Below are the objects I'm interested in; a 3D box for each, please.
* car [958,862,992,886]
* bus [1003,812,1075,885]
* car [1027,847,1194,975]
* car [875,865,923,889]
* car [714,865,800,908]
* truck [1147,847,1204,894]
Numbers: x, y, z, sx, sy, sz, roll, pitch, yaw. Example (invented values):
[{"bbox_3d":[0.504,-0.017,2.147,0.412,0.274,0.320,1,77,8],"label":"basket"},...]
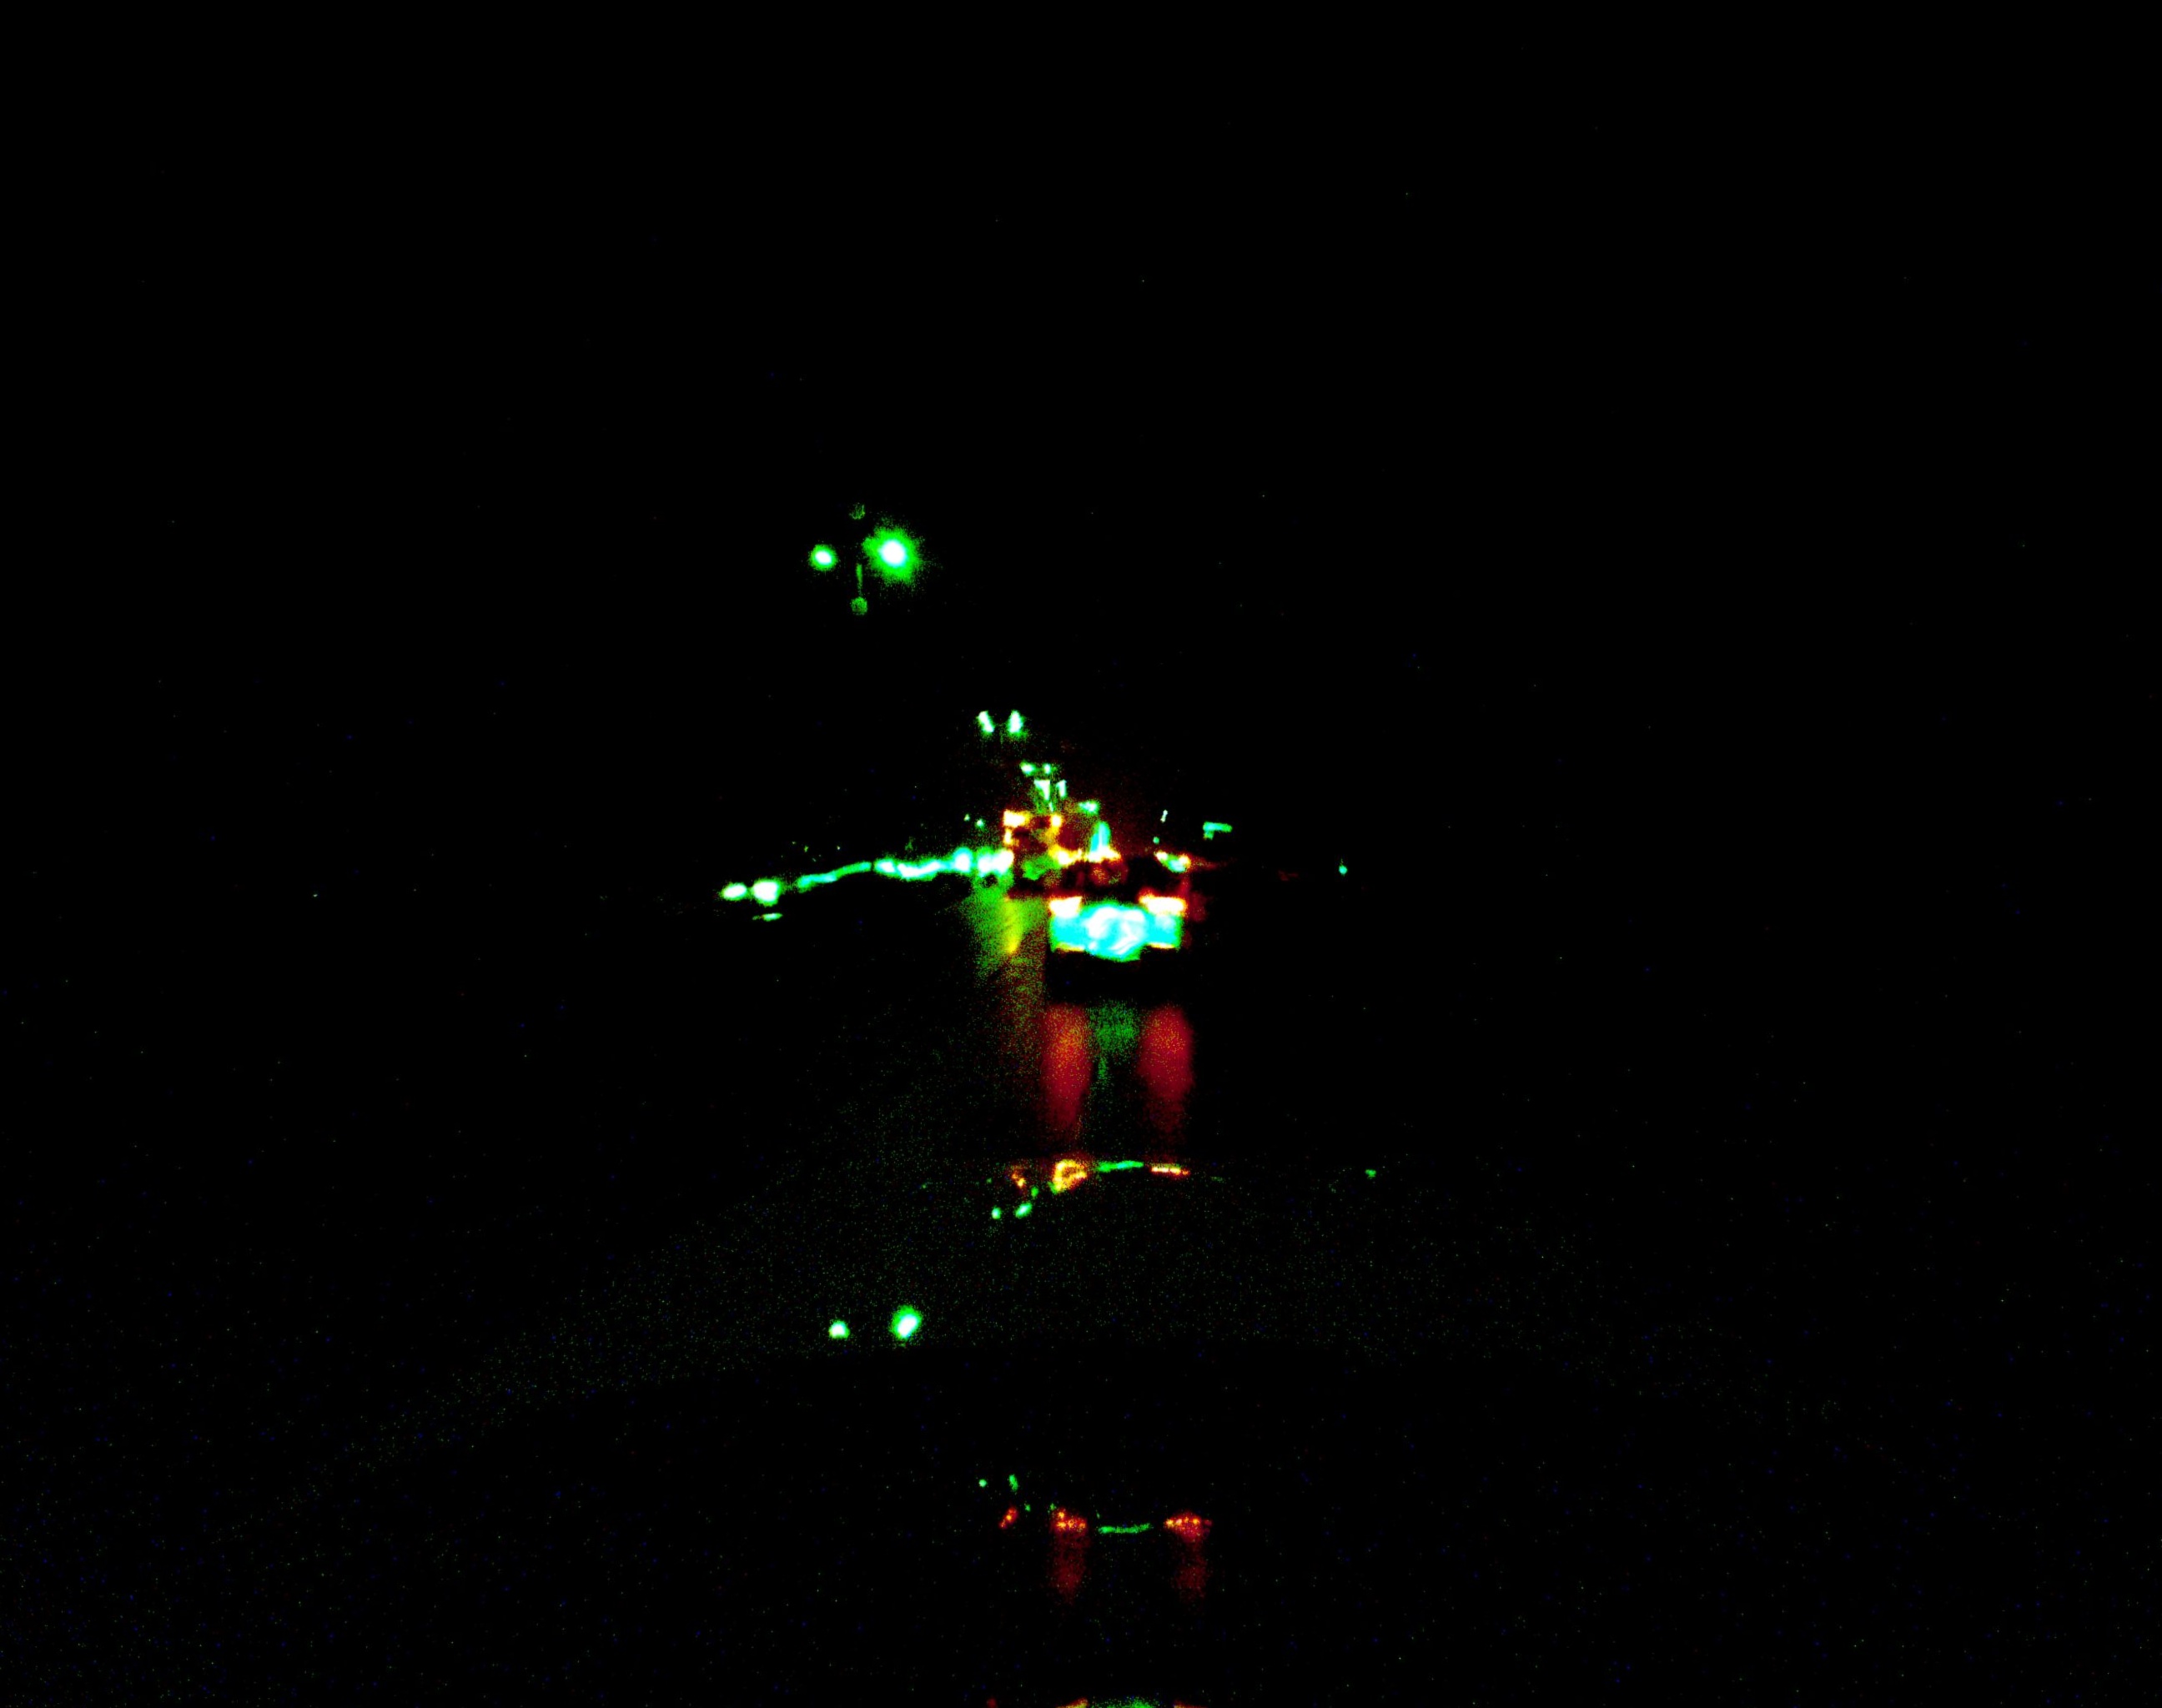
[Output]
[{"bbox_3d":[-8.190,1.541,63.354,1.987,1.774,4.705,1,-1,0],"label":"car"},{"bbox_3d":[-1.853,-0.249,39.734,2.734,3.123,9.204,1,0,1],"label":"bus"},{"bbox_3d":[0.483,0.680,11.406,1.935,1.491,3.720,-1,0,4],"label":"car"},{"bbox_3d":[-12.286,1.534,55.406,2.016,1.502,4.898,1,-1,1],"label":"car"},{"bbox_3d":[-12.327,1.211,31.227,1.594,1.552,3.836,1,-1,2],"label":"car"},{"bbox_3d":[5.476,0.975,47.791,3.055,2.528,7.176,0,-1,5],"label":"truck"}]
